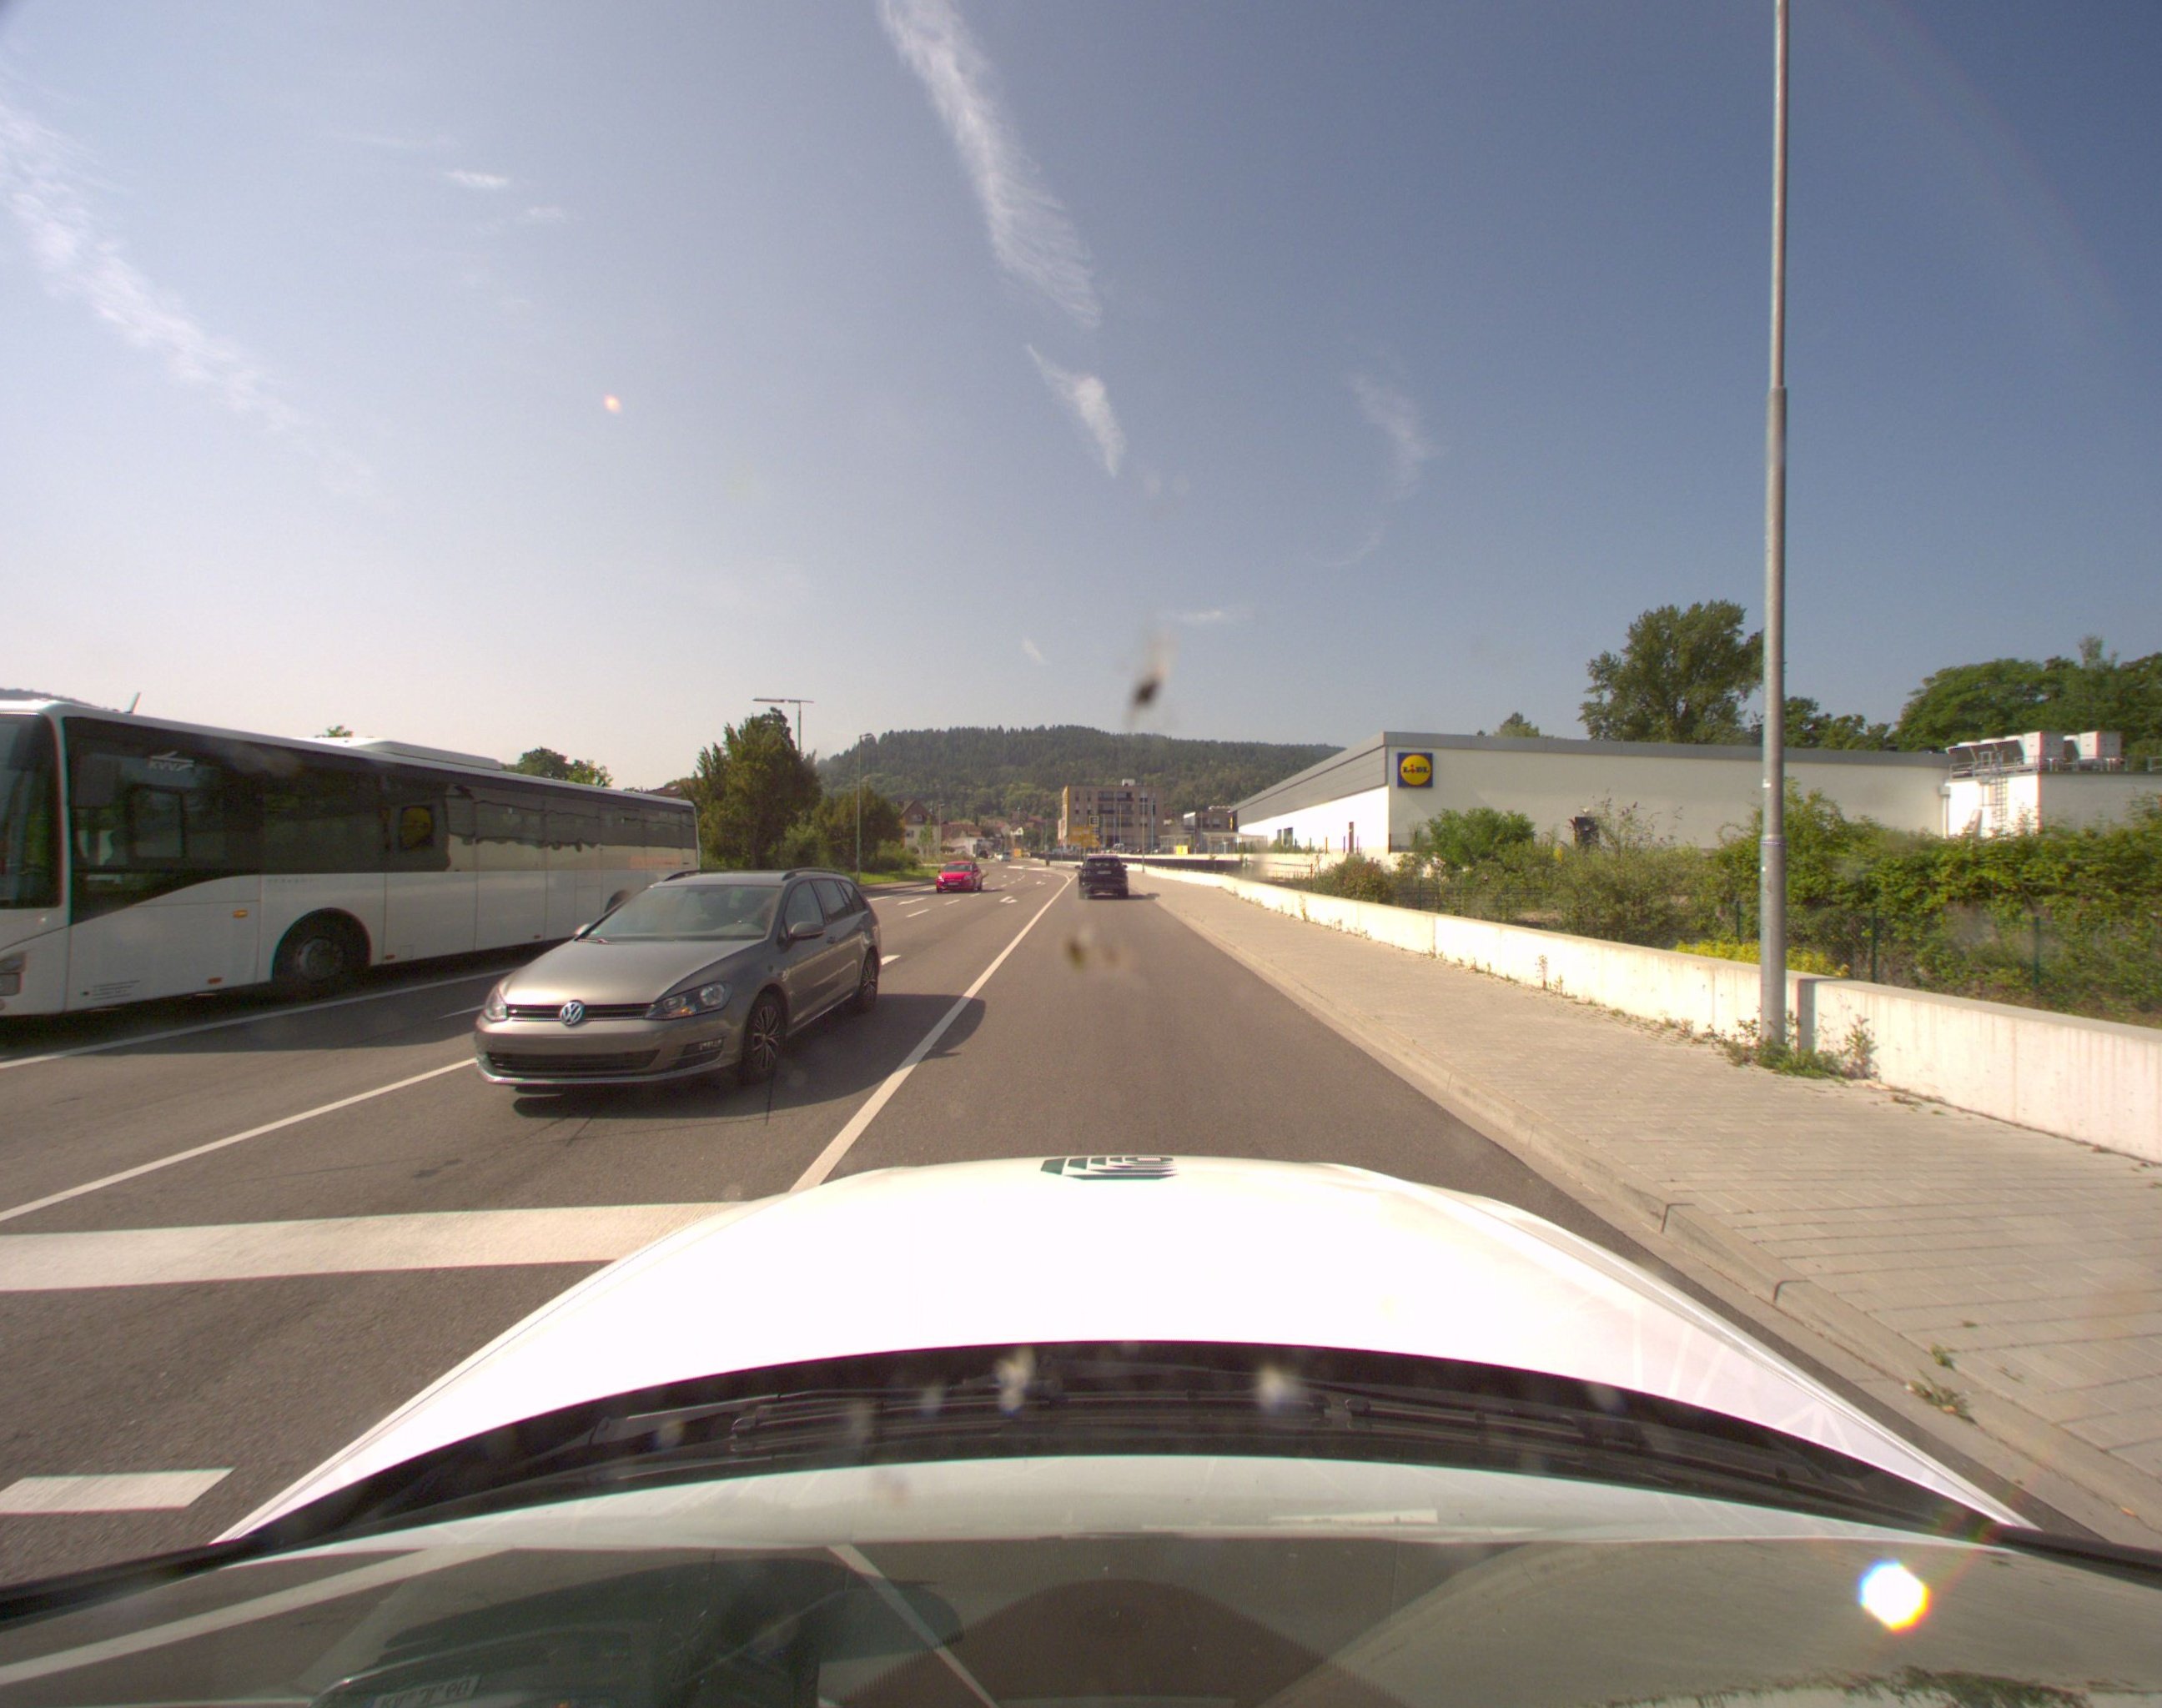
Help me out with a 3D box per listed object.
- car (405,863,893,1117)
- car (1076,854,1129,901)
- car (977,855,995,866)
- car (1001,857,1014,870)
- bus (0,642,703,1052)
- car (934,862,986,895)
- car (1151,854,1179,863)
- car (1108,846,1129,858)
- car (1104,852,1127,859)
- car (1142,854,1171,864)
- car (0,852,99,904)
[{"bbox_3d":[-3.006,0.822,6.861,1.766,1.473,4.220,0,-1,1],"label":"car"},{"bbox_3d":[0.896,0.871,31.473,1.873,1.684,4.004,0,-1,4],"label":"car"},{"bbox_3d":[-17.042,1.173,146.433,1.980,2.014,4.013,0,-1,12],"label":"car"},{"bbox_3d":[-12.086,1.572,133.915,1.991,2.014,3.992,0,-1,-5],"label":"car"},{"bbox_3d":[-9.952,0.025,12.538,2.612,3.310,11.955,0,-1,0],"label":"bus"},{"bbox_3d":[-5.838,1.150,39.647,1.831,1.492,4.431,0,-1,0],"label":"car"},{"bbox_3d":[12.379,0.689,120.249,3.816,1.364,1.670,1,0,-19],"label":"car"},{"bbox_3d":[7.234,-0.399,156.885,3.970,2.136,2.002,0,-1,3],"label":"car"},{"bbox_3d":[5.948,0.309,141.005,3.565,1.199,1.704,1,0,-18],"label":"car"},{"bbox_3d":[11.371,0.788,123.153,4.073,1.404,1.477,1,0,-19],"label":"car"},{"bbox_3d":[-33.787,0.750,25.273,3.978,1.551,1.997,0,-1,-4],"label":"car"}]
